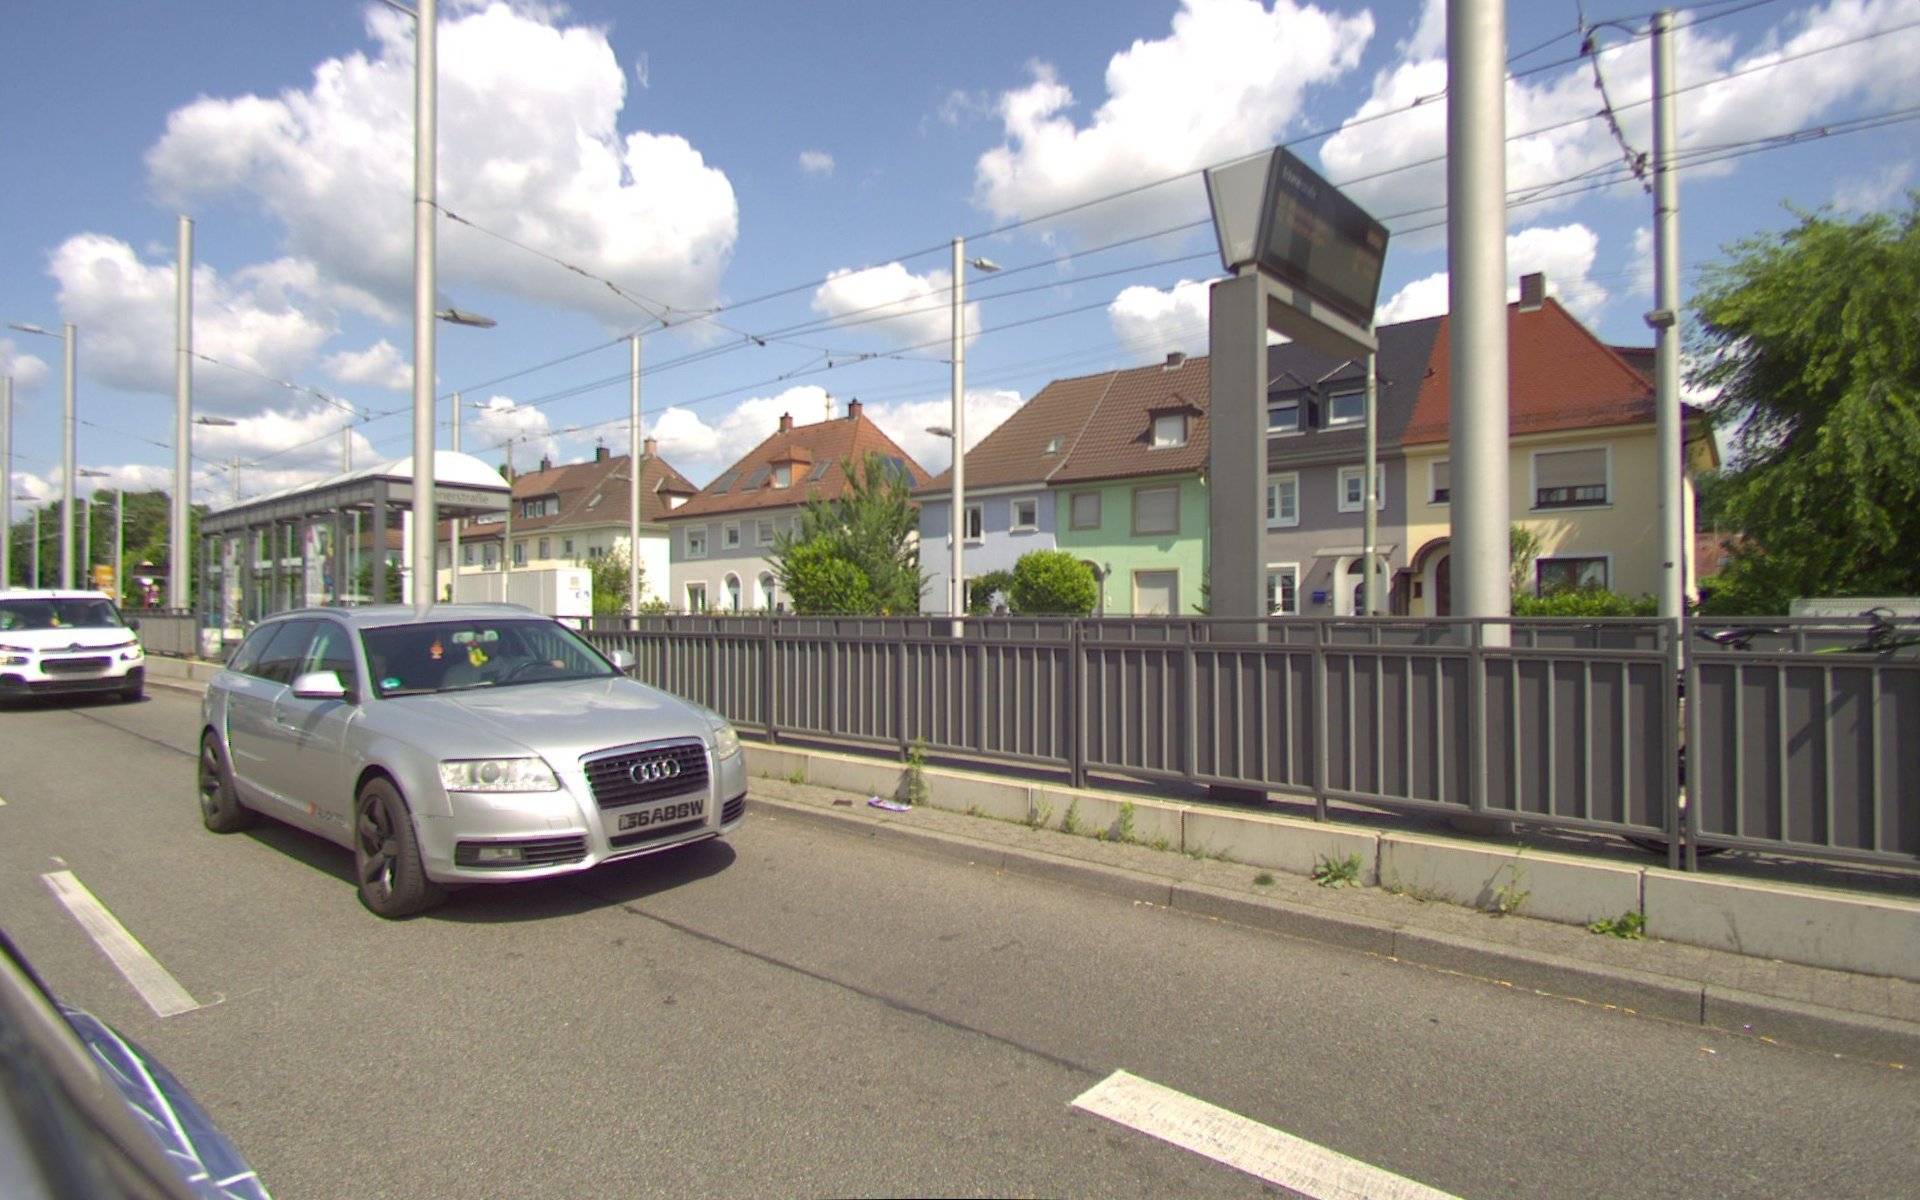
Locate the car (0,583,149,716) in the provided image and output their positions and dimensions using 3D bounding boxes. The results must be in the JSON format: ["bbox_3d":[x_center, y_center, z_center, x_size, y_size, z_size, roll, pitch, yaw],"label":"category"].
[{"bbox_3d":[-14.366,0.674,15.835,4.326,1.829,1.777,0,1,40],"label":"car"}]

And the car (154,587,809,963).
[{"bbox_3d":[-3.187,0.690,6.197,4.717,1.483,1.777,0,1,39],"label":"car"}]

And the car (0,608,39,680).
[{"bbox_3d":[-21.787,0.959,22.302,3.389,1.515,1.660,-1,0,38],"label":"car"}]
